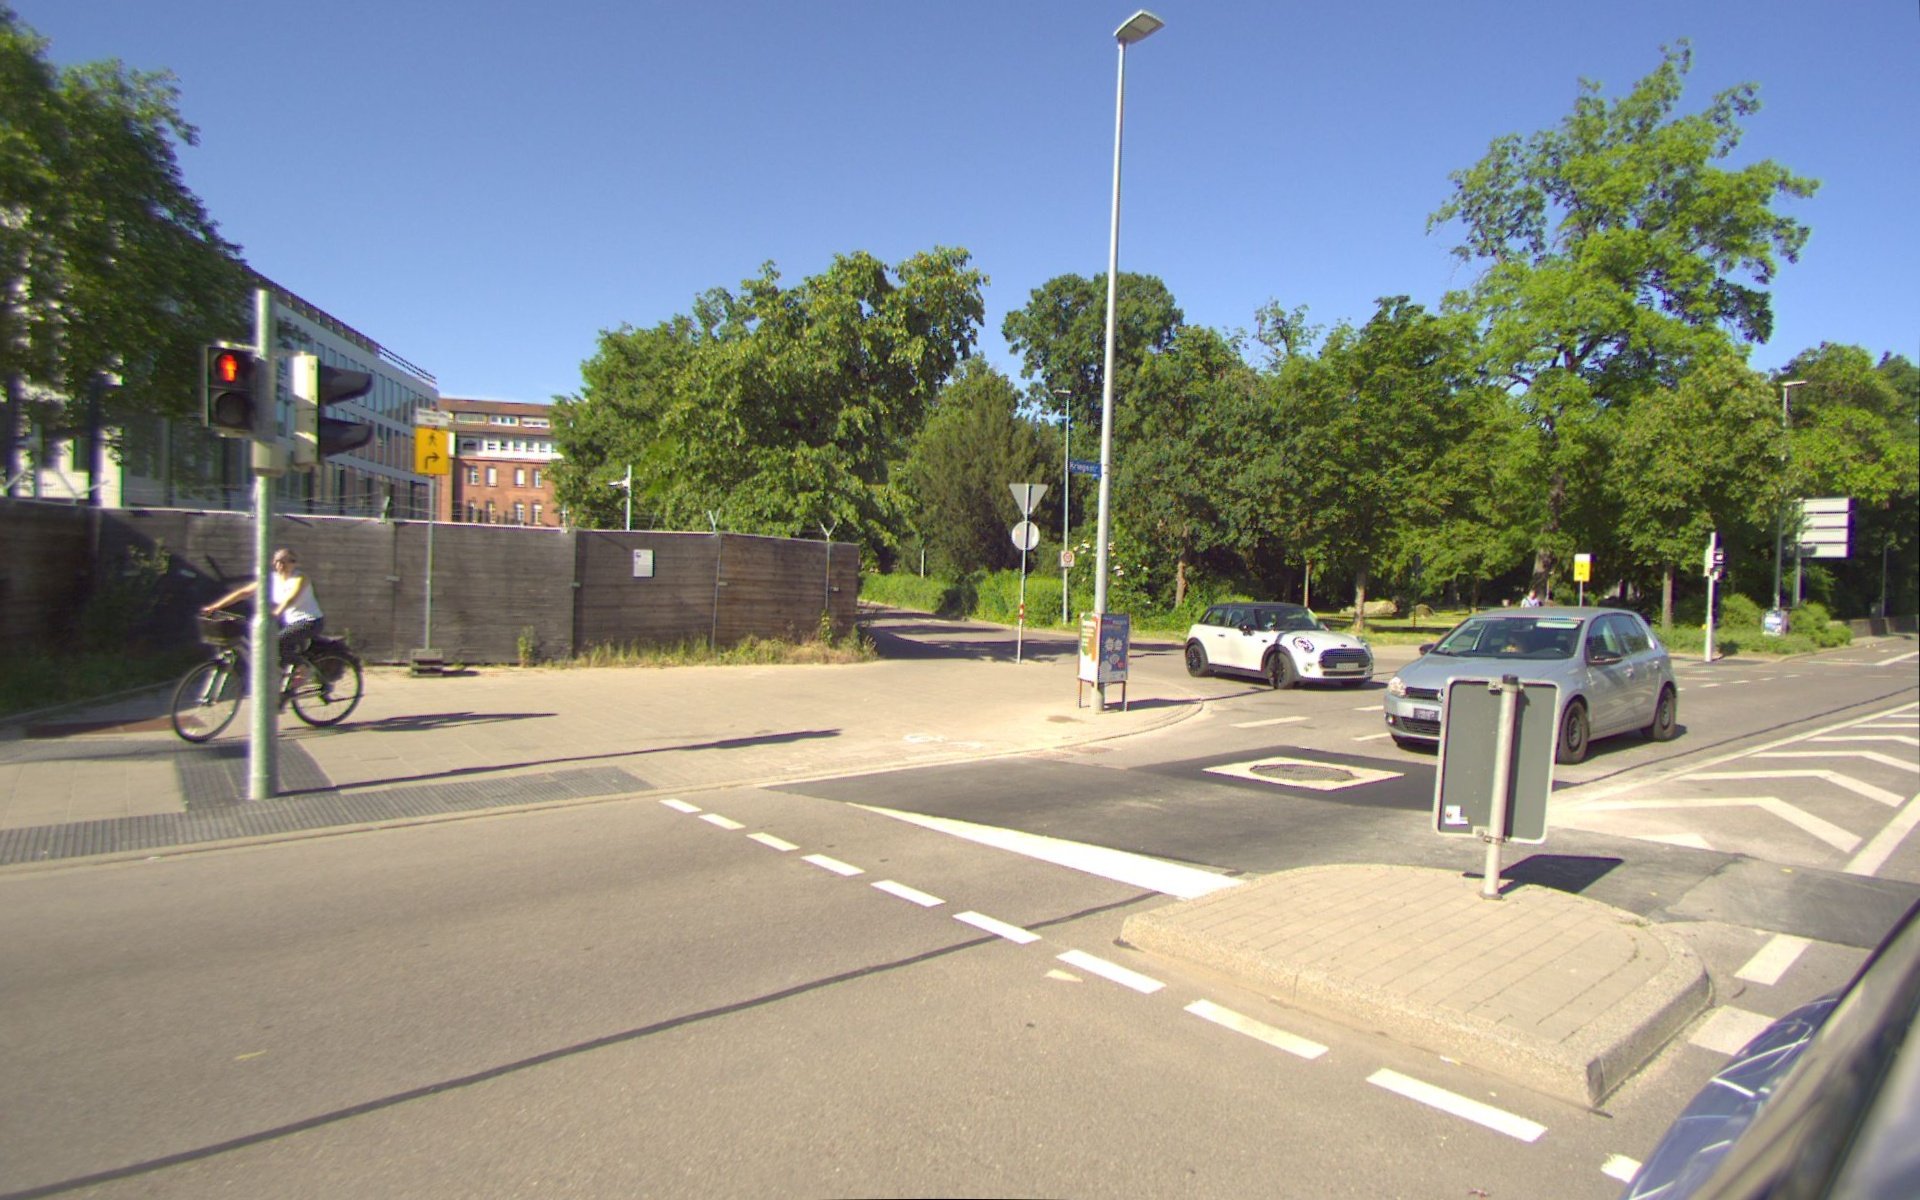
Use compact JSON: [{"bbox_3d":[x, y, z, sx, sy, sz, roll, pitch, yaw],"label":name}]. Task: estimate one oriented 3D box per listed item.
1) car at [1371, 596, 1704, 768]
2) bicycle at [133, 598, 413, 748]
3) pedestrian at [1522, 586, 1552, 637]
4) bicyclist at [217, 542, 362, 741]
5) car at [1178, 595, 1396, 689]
[{"bbox_3d":[6.216,0.714,10.747,3.926,1.493,1.703,0,1,-38],"label":"car"},{"bbox_3d":[-6.169,0.588,9.255,0.598,1.126,2.106,3,3,25],"label":"bicycle"},{"bbox_3d":[20.021,0.381,35.126,0.729,1.724,0.869,0,0,20],"label":"pedestrian"},{"bbox_3d":[-6.095,0.340,9.220,0.736,1.694,0.845,2,2,25],"label":"bicyclist"},{"bbox_3d":[5.656,0.656,17.973,1.735,1.454,3.719,0,1,-21],"label":"car"}]
